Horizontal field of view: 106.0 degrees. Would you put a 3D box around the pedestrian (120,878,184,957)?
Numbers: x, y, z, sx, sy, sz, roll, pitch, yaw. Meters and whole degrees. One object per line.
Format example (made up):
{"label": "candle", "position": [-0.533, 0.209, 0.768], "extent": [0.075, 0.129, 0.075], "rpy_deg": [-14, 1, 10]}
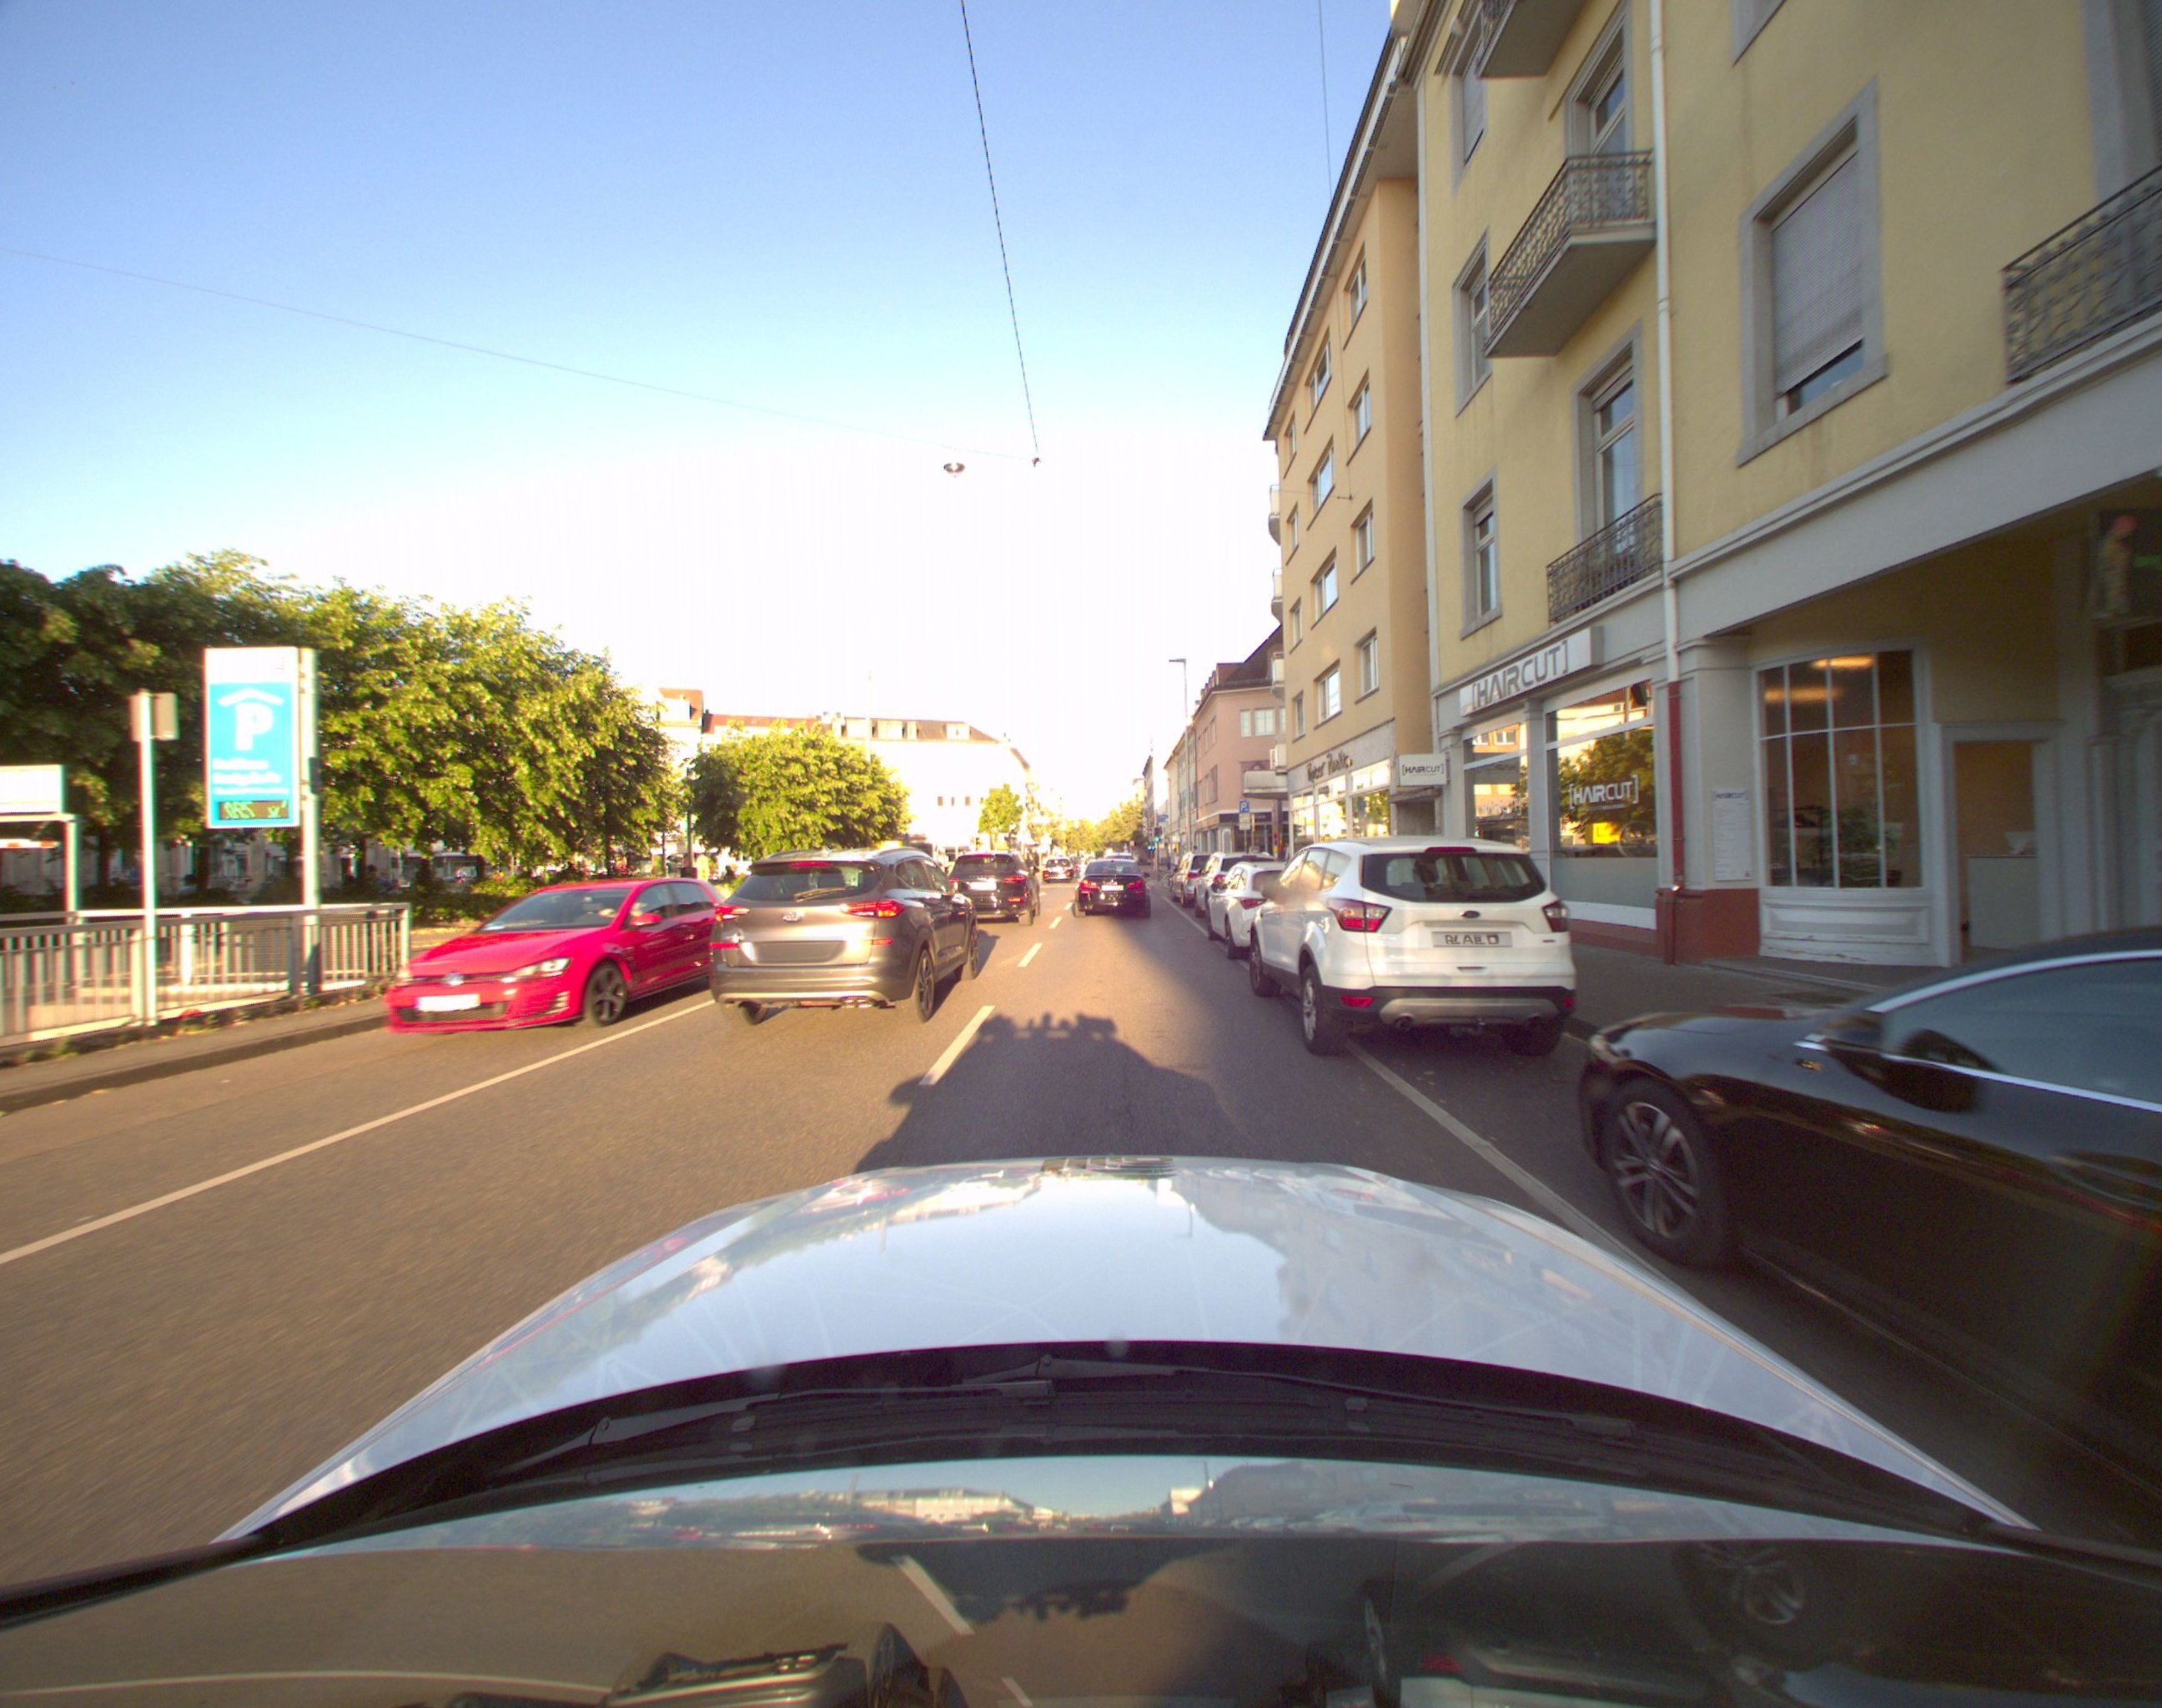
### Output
{"label": "pedestrian", "position": [-19.420, 1.310, 17.028], "extent": [0.672, 1.595, 0.680], "rpy_deg": [-1, 0, 21]}

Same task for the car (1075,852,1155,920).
{"label": "car", "position": [0.858, 0.763, 21.210], "extent": [1.890, 1.581, 4.001], "rpy_deg": [0, 0, 1]}

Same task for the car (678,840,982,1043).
{"label": "car", "position": [-2.330, 0.728, 8.777], "extent": [1.890, 1.649, 4.105], "rpy_deg": [-1, 0, 1]}

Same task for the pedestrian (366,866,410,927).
{"label": "pedestrian", "position": [-18.498, 1.115, 21.731], "extent": [0.783, 1.595, 0.571], "rpy_deg": [-1, 0, 21]}

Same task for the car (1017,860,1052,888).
{"label": "car", "position": [-2.748, 1.176, 49.181], "extent": [1.773, 1.547, 4.001], "rpy_deg": [-1, 0, 1]}

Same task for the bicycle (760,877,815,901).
{"label": "bicycle", "position": [-10.981, 1.314, 30.500], "extent": [1.820, 0.853, 0.483], "rpy_deg": [1, 0, -2]}

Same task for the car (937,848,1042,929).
{"label": "car", "position": [-2.011, 0.731, 19.136], "extent": [1.890, 1.649, 4.105], "rpy_deg": [-1, 0, 1]}

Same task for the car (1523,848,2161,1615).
{"label": "car", "position": [2.913, 0.721, 1.690], "extent": [1.723, 1.448, 4.476], "rpy_deg": [0, -1, 2]}

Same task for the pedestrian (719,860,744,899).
{"label": "pedestrian", "position": [-14.610, 1.062, 34.043], "extent": [0.783, 1.595, 0.571], "rpy_deg": [-1, 0, 21]}

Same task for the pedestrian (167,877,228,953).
{"label": "pedestrian", "position": [-19.167, 1.299, 17.674], "extent": [0.672, 1.595, 0.680], "rpy_deg": [-1, 0, 21]}

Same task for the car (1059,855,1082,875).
{"label": "car", "position": [-0.813, 0.883, 67.160], "extent": [1.773, 1.547, 4.001], "rpy_deg": [-1, 0, 1]}

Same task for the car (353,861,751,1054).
{"label": "car", "position": [-5.410, 0.919, 9.072], "extent": [1.685, 1.552, 3.952], "rpy_deg": [-4, 0, 1]}

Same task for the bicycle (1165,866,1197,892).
{"label": "bicycle", "position": [3.925, 0.960, 32.062], "extent": [0.490, 0.967, 1.760], "rpy_deg": [-1, 0, -19]}

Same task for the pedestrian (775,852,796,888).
{"label": "pedestrian", "position": [-13.079, 0.719, 36.073], "extent": [0.677, 1.595, 0.490], "rpy_deg": [-1, 0, 21]}

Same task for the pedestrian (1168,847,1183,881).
{"label": "pedestrian", "position": [5.154, 0.545, 44.426], "extent": [0.697, 1.812, 0.634], "rpy_deg": [-1, 0, -2]}

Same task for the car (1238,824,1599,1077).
{"label": "car", "position": [2.645, 0.659, 7.536], "extent": [1.723, 1.651, 4.286], "rpy_deg": [0, -1, 2]}

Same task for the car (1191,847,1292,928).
{"label": "car", "position": [3.586, 0.709, 18.790], "extent": [1.723, 1.652, 3.831], "rpy_deg": [0, -1, 2]}

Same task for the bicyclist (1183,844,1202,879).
{"label": "bicyclist", "position": [5.777, 0.396, 42.221], "extent": [0.823, 1.777, 0.612], "rpy_deg": [-1, 0, 29]}

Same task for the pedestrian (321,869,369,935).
{"label": "pedestrian", "position": [-18.246, 1.183, 20.199], "extent": [0.783, 1.595, 0.571], "rpy_deg": [-1, 0, 21]}

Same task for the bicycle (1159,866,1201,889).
{"label": "bicycle", "position": [4.232, 0.993, 34.841], "extent": [1.756, 0.967, 0.491], "rpy_deg": [-1, 0, 6]}

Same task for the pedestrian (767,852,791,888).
{"label": "pedestrian", "position": [-13.668, 0.709, 36.870], "extent": [0.783, 1.595, 0.571], "rpy_deg": [-1, 0, 21]}

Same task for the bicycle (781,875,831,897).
{"label": "bicycle", "position": [-11.213, 1.313, 33.221], "extent": [1.820, 0.853, 0.483], "rpy_deg": [1, 0, -2]}

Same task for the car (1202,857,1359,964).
{"label": "car", "position": [3.053, 0.796, 13.289], "extent": [1.722, 1.450, 4.315], "rpy_deg": [0, -1, 3]}

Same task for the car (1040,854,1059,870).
{"label": "car", "position": [-3.397, 0.825, 87.183], "extent": [1.685, 1.552, 3.952], "rpy_deg": [-4, 0, 1]}

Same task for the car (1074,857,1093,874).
{"label": "car", "position": [0.270, 1.082, 77.144], "extent": [1.773, 1.547, 4.001], "rpy_deg": [-1, 0, 1]}

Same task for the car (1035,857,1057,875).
{"label": "car", "position": [-3.206, 1.116, 75.657], "extent": [1.685, 1.552, 3.952], "rpy_deg": [-4, 0, 1]}

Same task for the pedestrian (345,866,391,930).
{"label": "pedestrian", "position": [-18.259, 1.118, 20.867], "extent": [0.783, 1.595, 0.571], "rpy_deg": [-1, 0, 21]}

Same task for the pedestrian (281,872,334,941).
{"label": "pedestrian", "position": [-18.548, 1.239, 19.532], "extent": [0.672, 1.595, 0.680], "rpy_deg": [-1, 0, 21]}

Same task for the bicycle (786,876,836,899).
{"label": "bicycle", "position": [-10.702, 1.321, 32.298], "extent": [1.820, 0.853, 0.483], "rpy_deg": [1, 0, -2]}

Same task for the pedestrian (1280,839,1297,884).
{"label": "pedestrian", "position": [8.441, 0.299, 33.150], "extent": [0.506, 1.812, 0.572], "rpy_deg": [-1, 0, -2]}

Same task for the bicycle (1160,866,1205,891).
{"label": "bicycle", "position": [4.148, 0.996, 33.396], "extent": [1.749, 0.967, 0.493], "rpy_deg": [-1, 0, 26]}

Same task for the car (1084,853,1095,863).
{"label": "car", "position": [1.378, 0.650, 130.277], "extent": [1.773, 1.547, 4.001], "rpy_deg": [-1, 0, 1]}

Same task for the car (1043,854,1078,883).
{"label": "car", "position": [-1.140, 0.789, 46.168], "extent": [1.773, 1.547, 4.001], "rpy_deg": [-1, 0, 1]}

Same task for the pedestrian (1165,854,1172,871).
{"label": "pedestrian", "position": [7.994, 0.744, 74.533], "extent": [0.630, 1.534, 0.702], "rpy_deg": [-1, 0, 4]}

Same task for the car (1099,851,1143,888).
{"label": "car", "position": [1.776, 0.683, 36.929], "extent": [1.890, 1.581, 4.001], "rpy_deg": [0, 0, 1]}

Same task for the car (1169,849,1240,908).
{"label": "car", "position": [3.715, 0.721, 25.012], "extent": [1.723, 1.652, 3.972], "rpy_deg": [0, -1, 2]}
